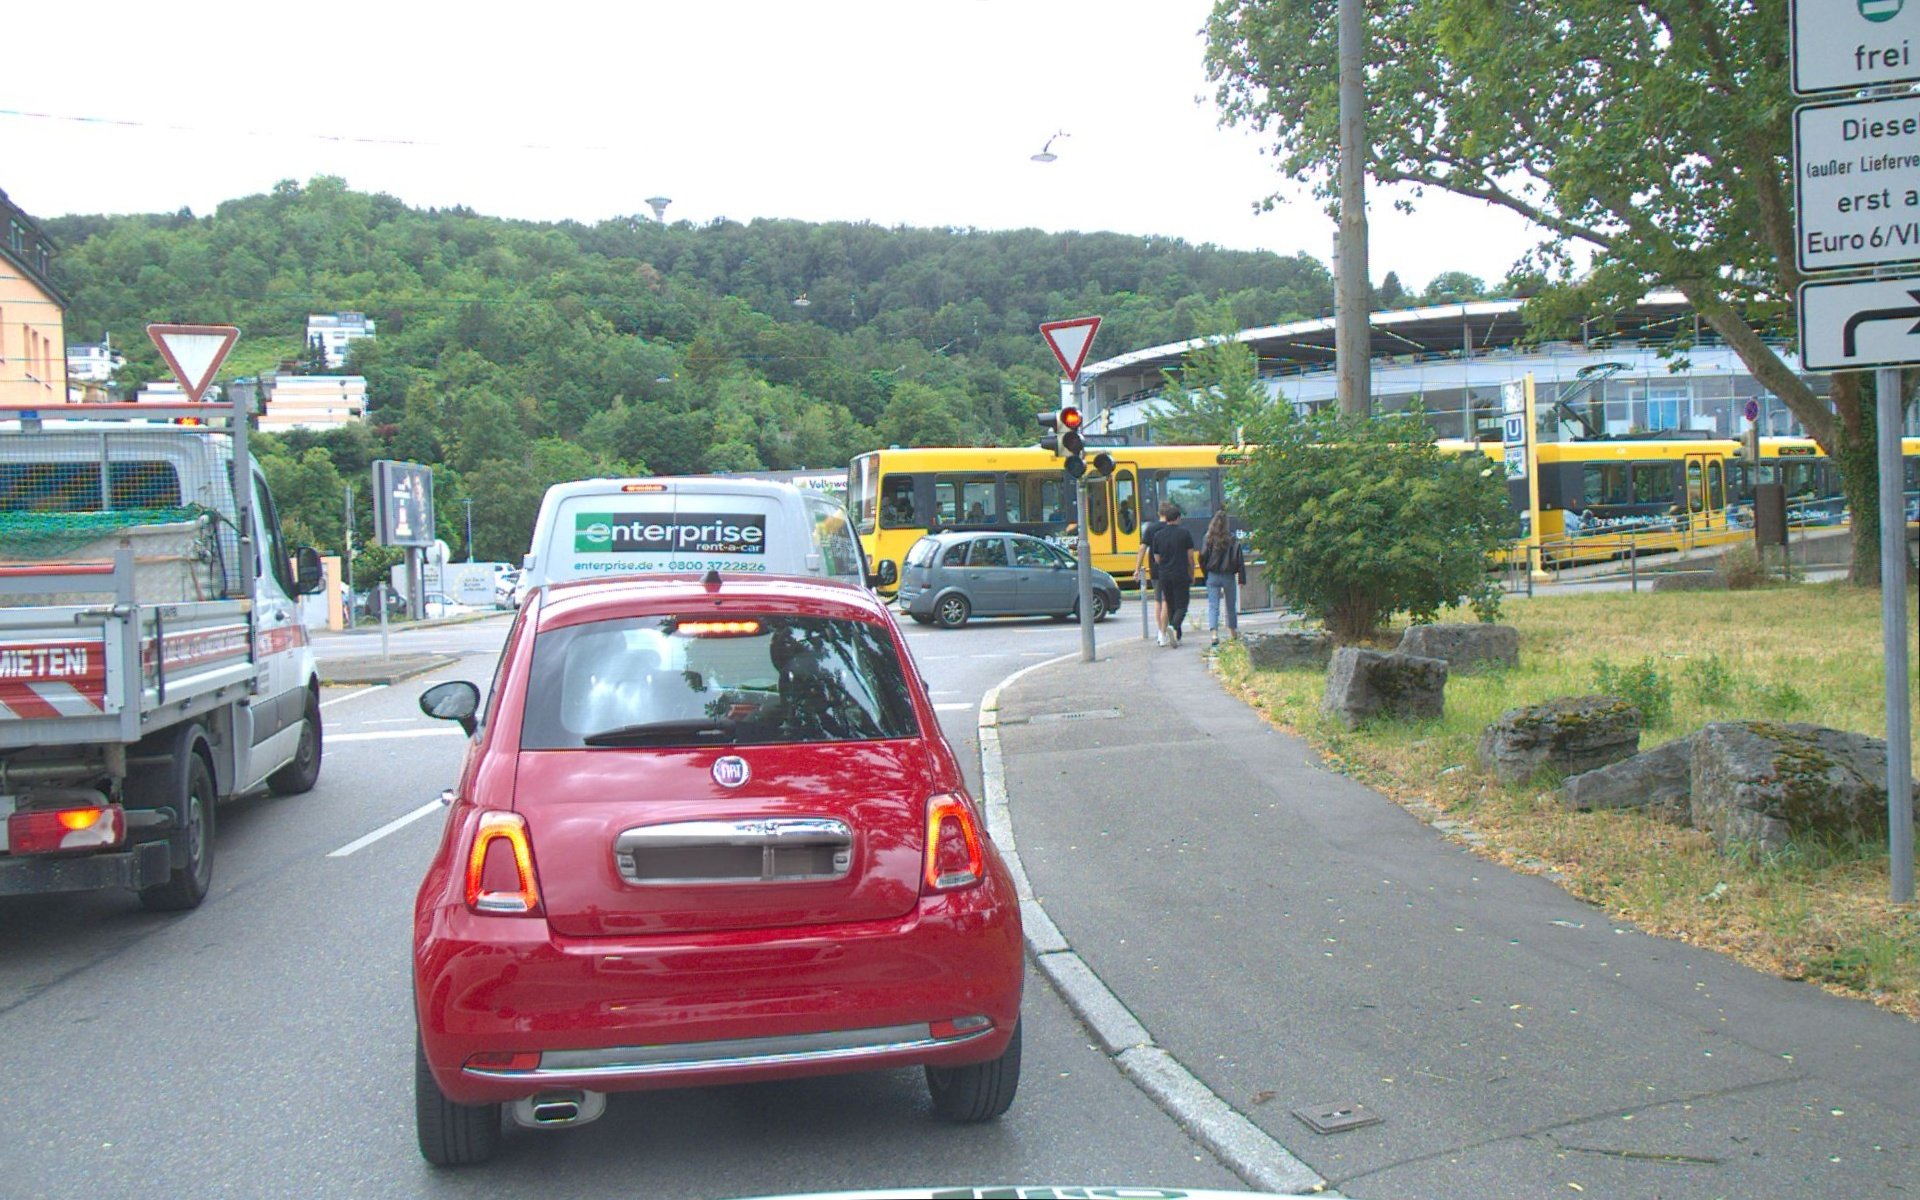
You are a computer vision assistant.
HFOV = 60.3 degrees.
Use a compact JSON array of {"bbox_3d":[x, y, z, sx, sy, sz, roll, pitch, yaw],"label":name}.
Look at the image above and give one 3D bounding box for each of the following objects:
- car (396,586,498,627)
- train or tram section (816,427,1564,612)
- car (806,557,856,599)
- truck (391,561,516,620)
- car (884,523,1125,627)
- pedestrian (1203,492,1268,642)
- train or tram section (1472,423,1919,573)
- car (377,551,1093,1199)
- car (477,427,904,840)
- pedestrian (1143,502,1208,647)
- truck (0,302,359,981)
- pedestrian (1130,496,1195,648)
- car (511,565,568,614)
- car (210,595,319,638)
[{"bbox_3d":[-22.478,0.285,72.637,4.135,1.560,1.768,-3,2,-16],"label":"car"},{"bbox_3d":[6.056,-2.098,40.050,18.851,3.729,3.256,-3,2,-23],"label":"train or tram section"},{"bbox_3d":[-6.126,-1.072,78.753,1.952,1.847,4.001,-2,2,1],"label":"car"},{"bbox_3d":[-23.175,-0.467,75.756,5.127,2.434,1.981,-3,2,-29],"label":"truck"},{"bbox_3d":[0.768,-0.459,29.097,3.817,1.611,1.793,-3,2,-19],"label":"car"},{"bbox_3d":[3.361,-0.403,20.252,0.678,1.770,0.789,-3,1,7],"label":"pedestrian"},{"bbox_3d":[23.291,-3.054,47.498,18.859,3.729,3.254,-3,2,-24],"label":"train or tram section"},{"bbox_3d":[-0.818,0.623,5.510,1.610,1.482,3.421,-2,1,-12],"label":"car"},{"bbox_3d":[-1.542,0.122,11.338,1.948,2.143,4.763,-3,1,1],"label":"car"},{"bbox_3d":[2.682,-0.321,20.543,0.678,1.744,0.789,-2,1,11],"label":"pedestrian"},{"bbox_3d":[-4.845,0.154,8.702,2.381,2.439,6.008,-3,1,-14],"label":"truck"},{"bbox_3d":[2.606,-0.366,21.221,0.678,1.889,0.789,-2,1,11],"label":"pedestrian"},{"bbox_3d":[-17.285,-0.458,68.144,1.826,1.849,4.393,-3,2,-9],"label":"car"},{"bbox_3d":[-29.495,0.673,70.266,4.146,1.560,1.763,-3,2,-23],"label":"car"}]
